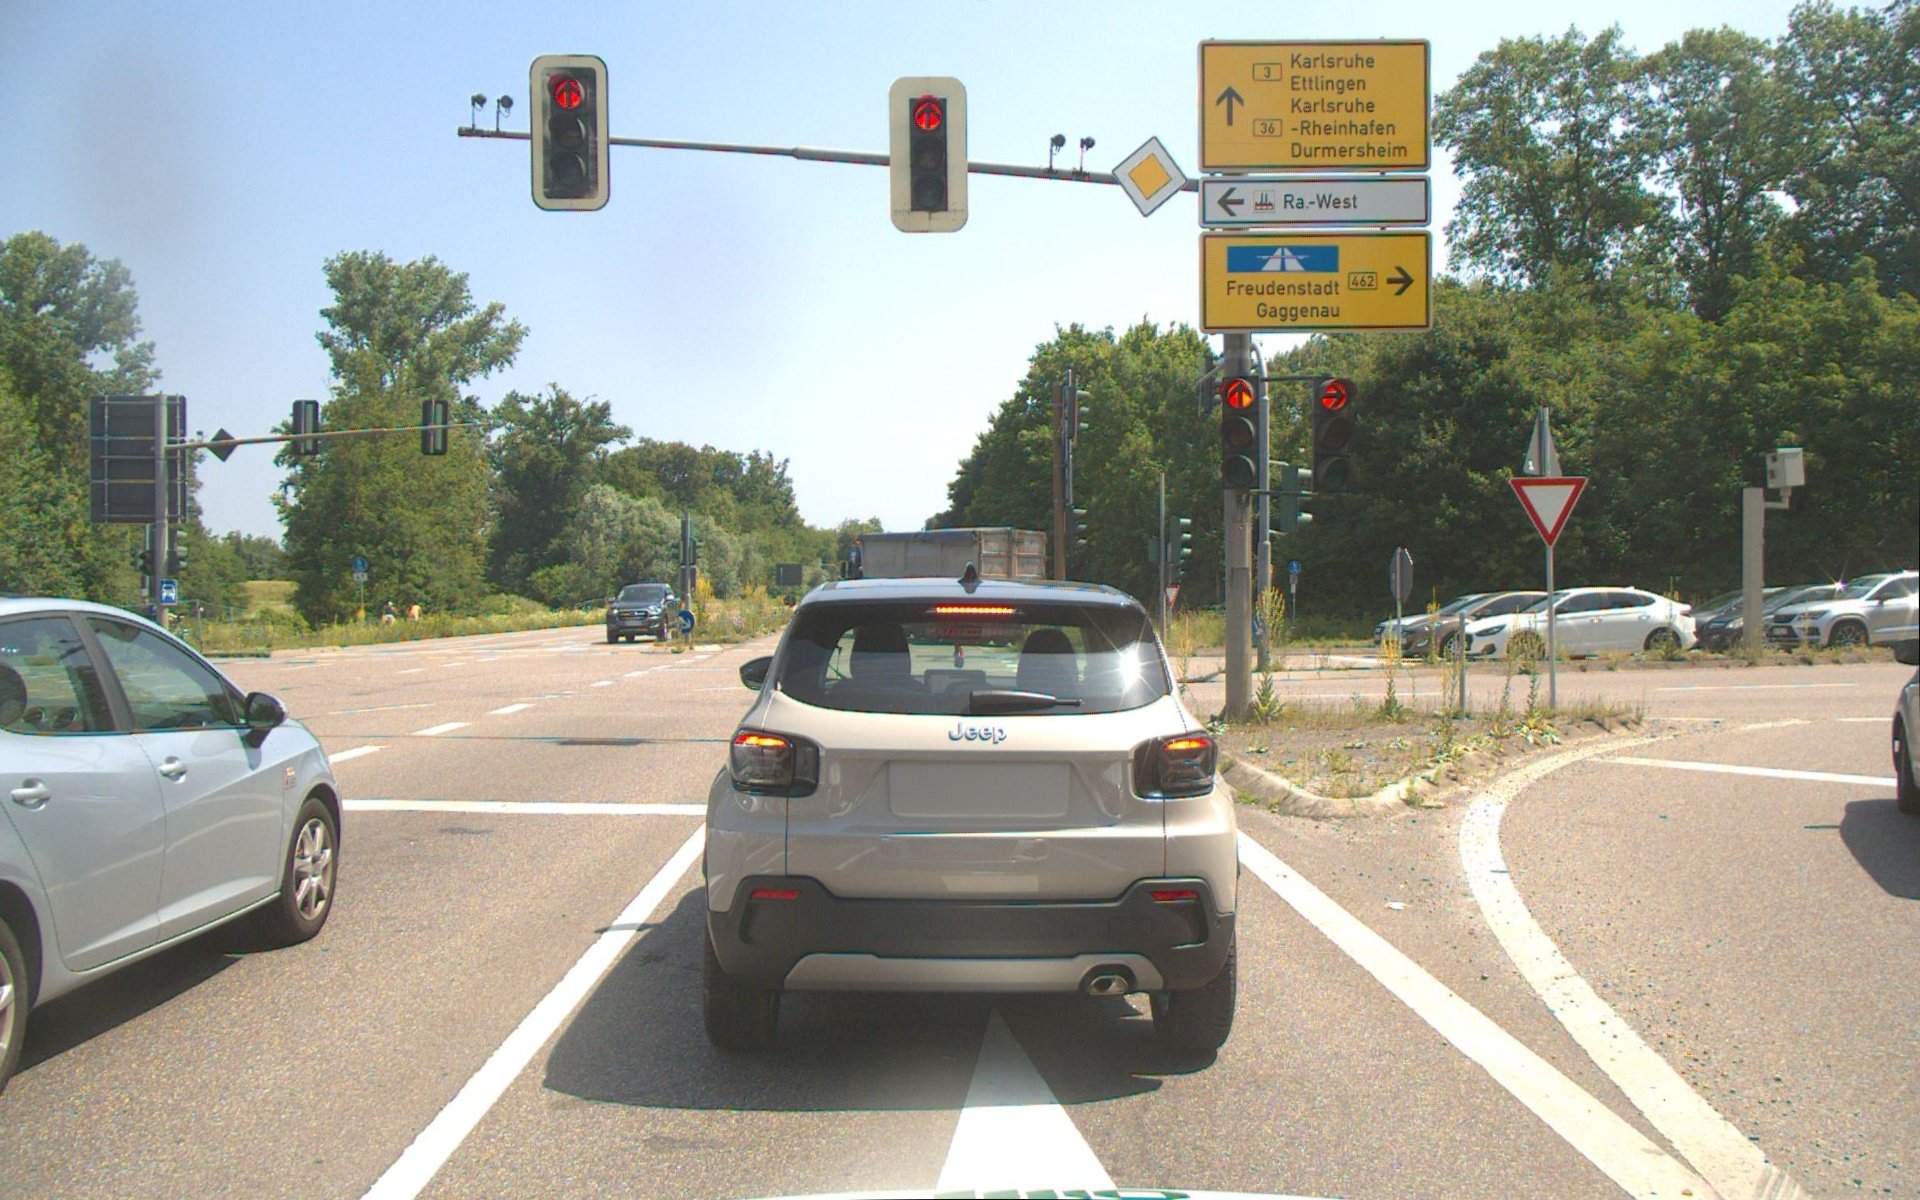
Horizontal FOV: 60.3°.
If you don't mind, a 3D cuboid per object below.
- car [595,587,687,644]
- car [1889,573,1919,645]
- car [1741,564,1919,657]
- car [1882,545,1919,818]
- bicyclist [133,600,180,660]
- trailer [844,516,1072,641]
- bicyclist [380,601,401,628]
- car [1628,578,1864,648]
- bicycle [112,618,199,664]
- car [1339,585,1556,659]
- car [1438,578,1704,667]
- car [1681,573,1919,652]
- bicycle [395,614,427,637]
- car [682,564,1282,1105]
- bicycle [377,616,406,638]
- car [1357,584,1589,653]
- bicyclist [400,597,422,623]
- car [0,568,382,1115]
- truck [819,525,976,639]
[{"bbox_3d":[-10.234,0.460,53.485,1.953,1.707,5.364,-2,0,-1],"label":"car"},{"bbox_3d":[23.316,0.129,35.985,5.025,1.560,2.137,-1,-1,-2],"label":"car"},{"bbox_3d":[17.650,0.179,32.027,4.088,1.688,1.999,-1,0,-2],"label":"car"},{"bbox_3d":[6.932,0.543,10.064,1.720,1.804,4.113,0,0,21],"label":"car"},{"bbox_3d":[-20.167,0.743,41.505,0.908,1.485,0.713,-1,0,36],"label":"bicyclist"},{"bbox_3d":[-0.337,-0.701,59.025,3.346,4.058,10.697,1,0,-29],"label":"trailer"},{"bbox_3d":[-26.735,0.684,77.604,0.719,1.216,0.592,-1,0,9],"label":"bicyclist"},{"bbox_3d":[18.388,0.301,38.826,4.523,1.525,2.111,-1,-1,-2],"label":"car"},{"bbox_3d":[-20.187,1.026,41.528,0.709,1.082,1.863,-1,0,35],"label":"bicycle"},{"bbox_3d":[10.378,0.448,35.375,4.011,1.472,1.994,-1,0,-4],"label":"car"},{"bbox_3d":[11.587,0.406,31.560,4.331,1.562,1.999,-1,0,-3],"label":"car"},{"bbox_3d":[17.936,0.266,35.103,4.330,1.562,2.121,-1,-1,-2],"label":"car"},{"bbox_3d":[-25.700,1.199,77.457,0.661,1.022,1.802,-1,0,8],"label":"bicycle"},{"bbox_3d":[0.039,0.673,6.792,1.731,1.561,3.999,0,0,-1],"label":"car"},{"bbox_3d":[-26.688,1.266,77.626,0.591,1.023,1.557,-1,0,9],"label":"bicycle"},{"bbox_3d":[12.035,0.433,39.016,4.831,1.525,2.020,-1,-1,-1],"label":"car"},{"bbox_3d":[-25.714,0.471,77.490,0.741,1.216,0.592,-1,0,9],"label":"bicyclist"},{"bbox_3d":[-3.375,0.624,5.429,1.632,1.455,3.827,1,0,-1],"label":"car"},{"bbox_3d":[-2.449,-0.630,62.745,3.298,4.058,6.466,1,0,-30],"label":"truck"}]
